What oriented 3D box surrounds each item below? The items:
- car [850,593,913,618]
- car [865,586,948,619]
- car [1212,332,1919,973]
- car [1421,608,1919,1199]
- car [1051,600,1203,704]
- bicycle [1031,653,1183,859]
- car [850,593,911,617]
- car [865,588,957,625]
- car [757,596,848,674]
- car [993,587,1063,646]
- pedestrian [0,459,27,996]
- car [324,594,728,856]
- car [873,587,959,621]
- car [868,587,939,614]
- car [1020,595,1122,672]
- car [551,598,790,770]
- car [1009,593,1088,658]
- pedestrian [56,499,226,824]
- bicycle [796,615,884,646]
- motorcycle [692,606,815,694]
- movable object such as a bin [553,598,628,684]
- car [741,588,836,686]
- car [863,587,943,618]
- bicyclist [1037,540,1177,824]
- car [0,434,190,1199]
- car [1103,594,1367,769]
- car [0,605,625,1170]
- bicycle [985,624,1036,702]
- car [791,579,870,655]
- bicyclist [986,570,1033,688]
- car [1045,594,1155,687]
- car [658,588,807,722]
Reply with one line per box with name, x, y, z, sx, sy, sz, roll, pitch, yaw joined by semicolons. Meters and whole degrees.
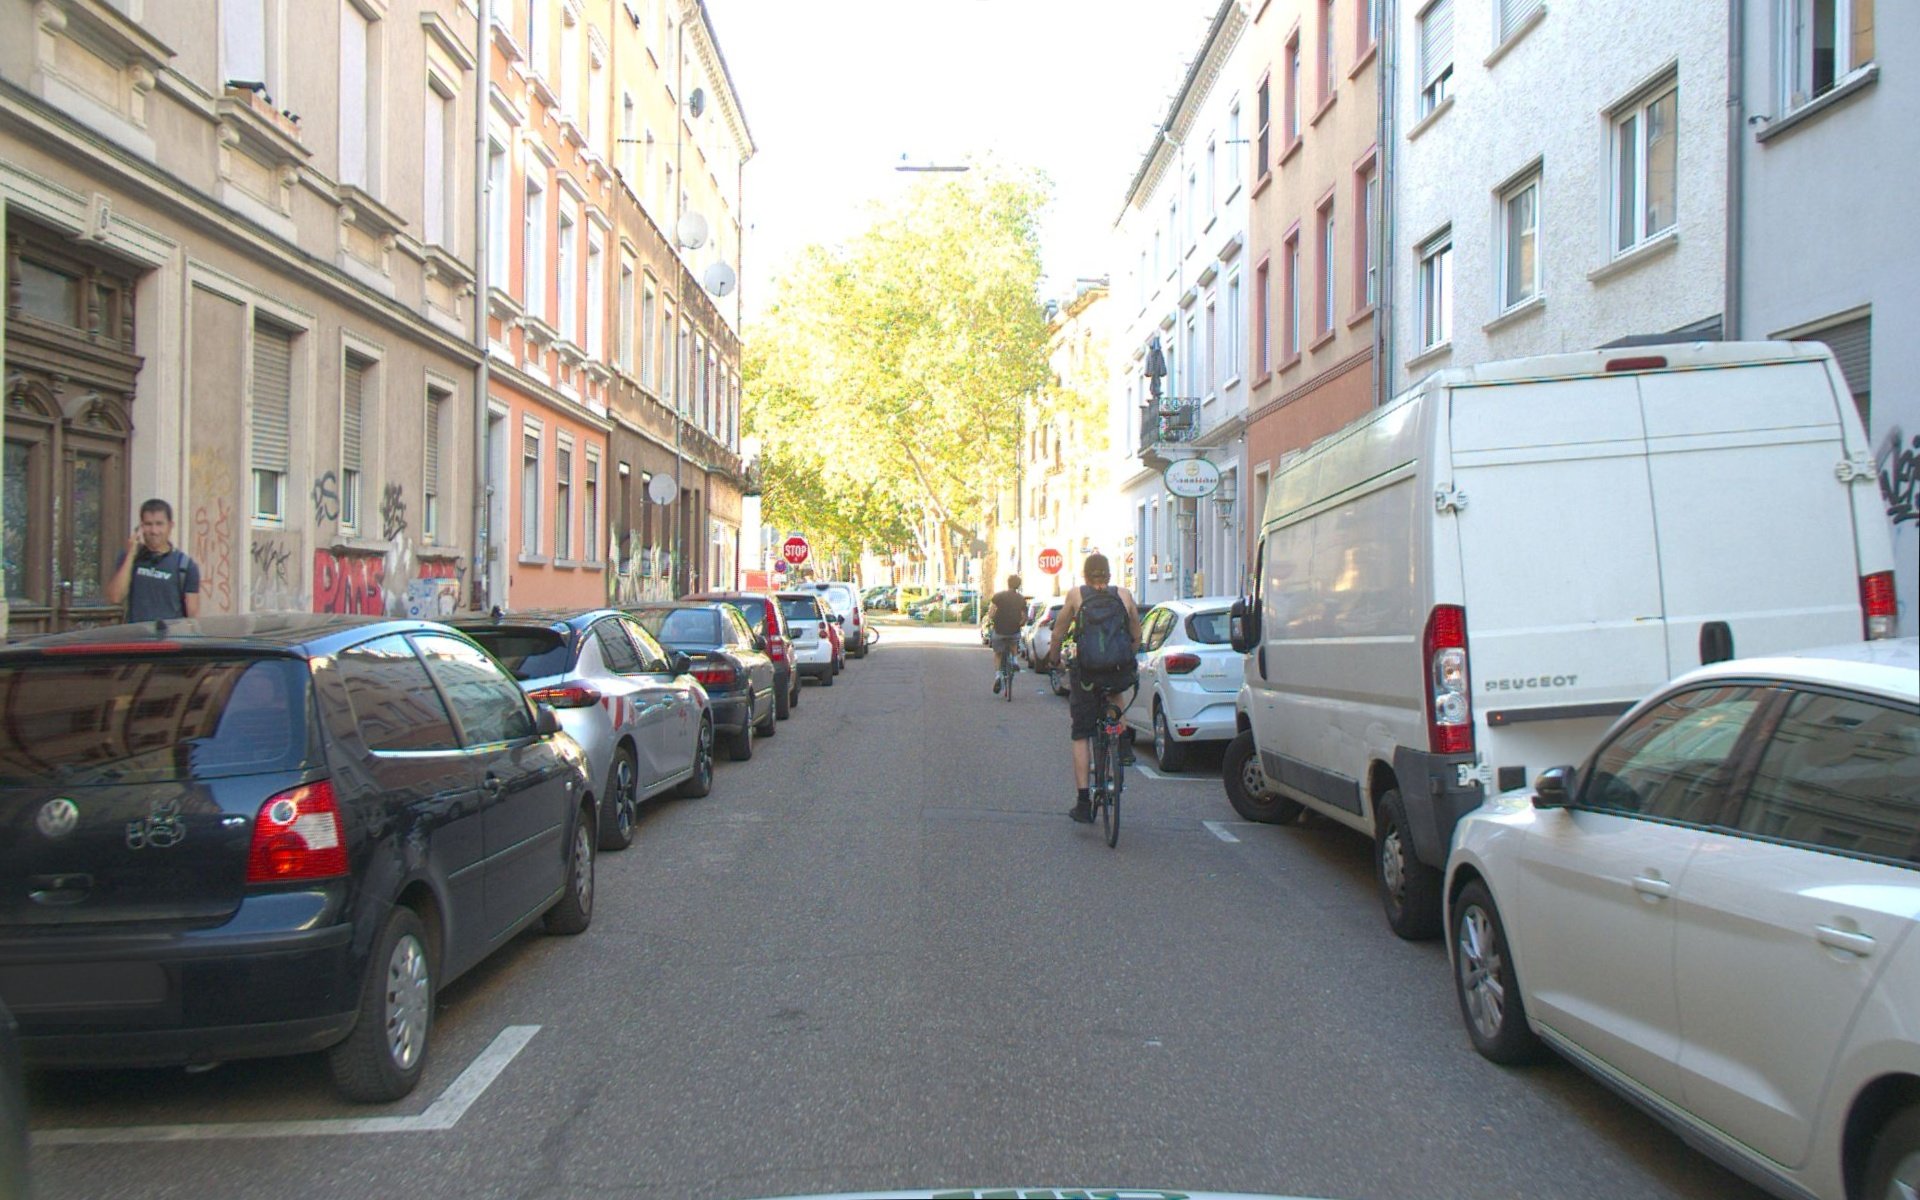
car;-5.618;0.399;118.261;4.382;1.725;1.864;0;0;-6
car;-2.929;0.139;89.509;4.382;1.725;1.864;0;0;-6
car;2.979;0.197;9.729;2.159;2.595;6.036;0;0;1
car;2.648;0.769;4.308;1.690;1.454;3.830;0;0;-2
car;2.328;0.692;23.980;1.624;1.362;3.998;0;0;-3
bicycle;0.908;0.954;10.766;0.725;1.120;2.041;2;0;-2
car;-5.825;0.352;120.431;4.382;1.725;1.864;0;0;-6
car;-2.391;0.302;80.042;4.382;1.790;1.864;0;0;-6
car;-3.029;0.637;32.339;1.521;1.424;3.666;0;0;-2
car;2.115;0.490;52.624;1.855;1.800;3.997;0;0;-3
pedestrian;-3.603;0.435;5.375;0.637;1.849;0.754;2;0;-1
car;-2.699;0.693;11.187;1.639;1.455;3.889;0;0;1
car;-2.290;0.181;85.531;4.382;1.725;1.864;0;0;-6
car;-3.618;0.017;105.063;4.382;1.725;1.864;0;0;-6
car;2.254;0.651;34.529;1.676;1.496;3.998;0;0;-3
car;-2.687;0.715;16.247;1.671;1.438;4.301;0;0;-1
car;2.188;0.610;41.635;1.619;1.557;3.572;0;0;-3
pedestrian;-4.988;0.360;10.113;0.598;1.890;0.753;2;0;-2
bicycle;-3.645;0.917;50.286;2.662;0.907;0.618;0;0;-4
motorcycle;-3.105;0.736;24.821;1.766;1.278;0.707;0;0;-15
movable object such as a bin;-5.300;0.580;23.774;0.817;1.146;0.716;-4;0;1
car;-2.917;0.586;28.577;1.514;1.578;3.462;0;0;-4
car;-3.179;0.140;91.889;4.382;1.725;1.864;0;0;-6
bicyclist;0.920;0.497;10.623;0.725;1.708;1.116;2;0;-2
car;-2.426;0.621;1.357;1.764;1.728;3.999;-2;0;-2
car;2.551;0.692;16.280;1.697;1.496;4.018;0;0;-4
car;-2.405;0.769;6.217;1.559;1.465;3.653;0;0;0
bicycle;0.730;0.897;24.248;0.650;1.055;1.958;0;0;-1
car;-3.151;0.392;40.775;1.751;1.767;3.875;0;0;-2
bicyclist;0.720;0.415;24.242;0.656;1.687;0.877;0;0;-1
car;2.396;0.656;29.074;1.560;1.518;3.875;0;0;-1
car;-2.842;0.637;21.203;1.573;1.557;3.377;-1;0;-3
